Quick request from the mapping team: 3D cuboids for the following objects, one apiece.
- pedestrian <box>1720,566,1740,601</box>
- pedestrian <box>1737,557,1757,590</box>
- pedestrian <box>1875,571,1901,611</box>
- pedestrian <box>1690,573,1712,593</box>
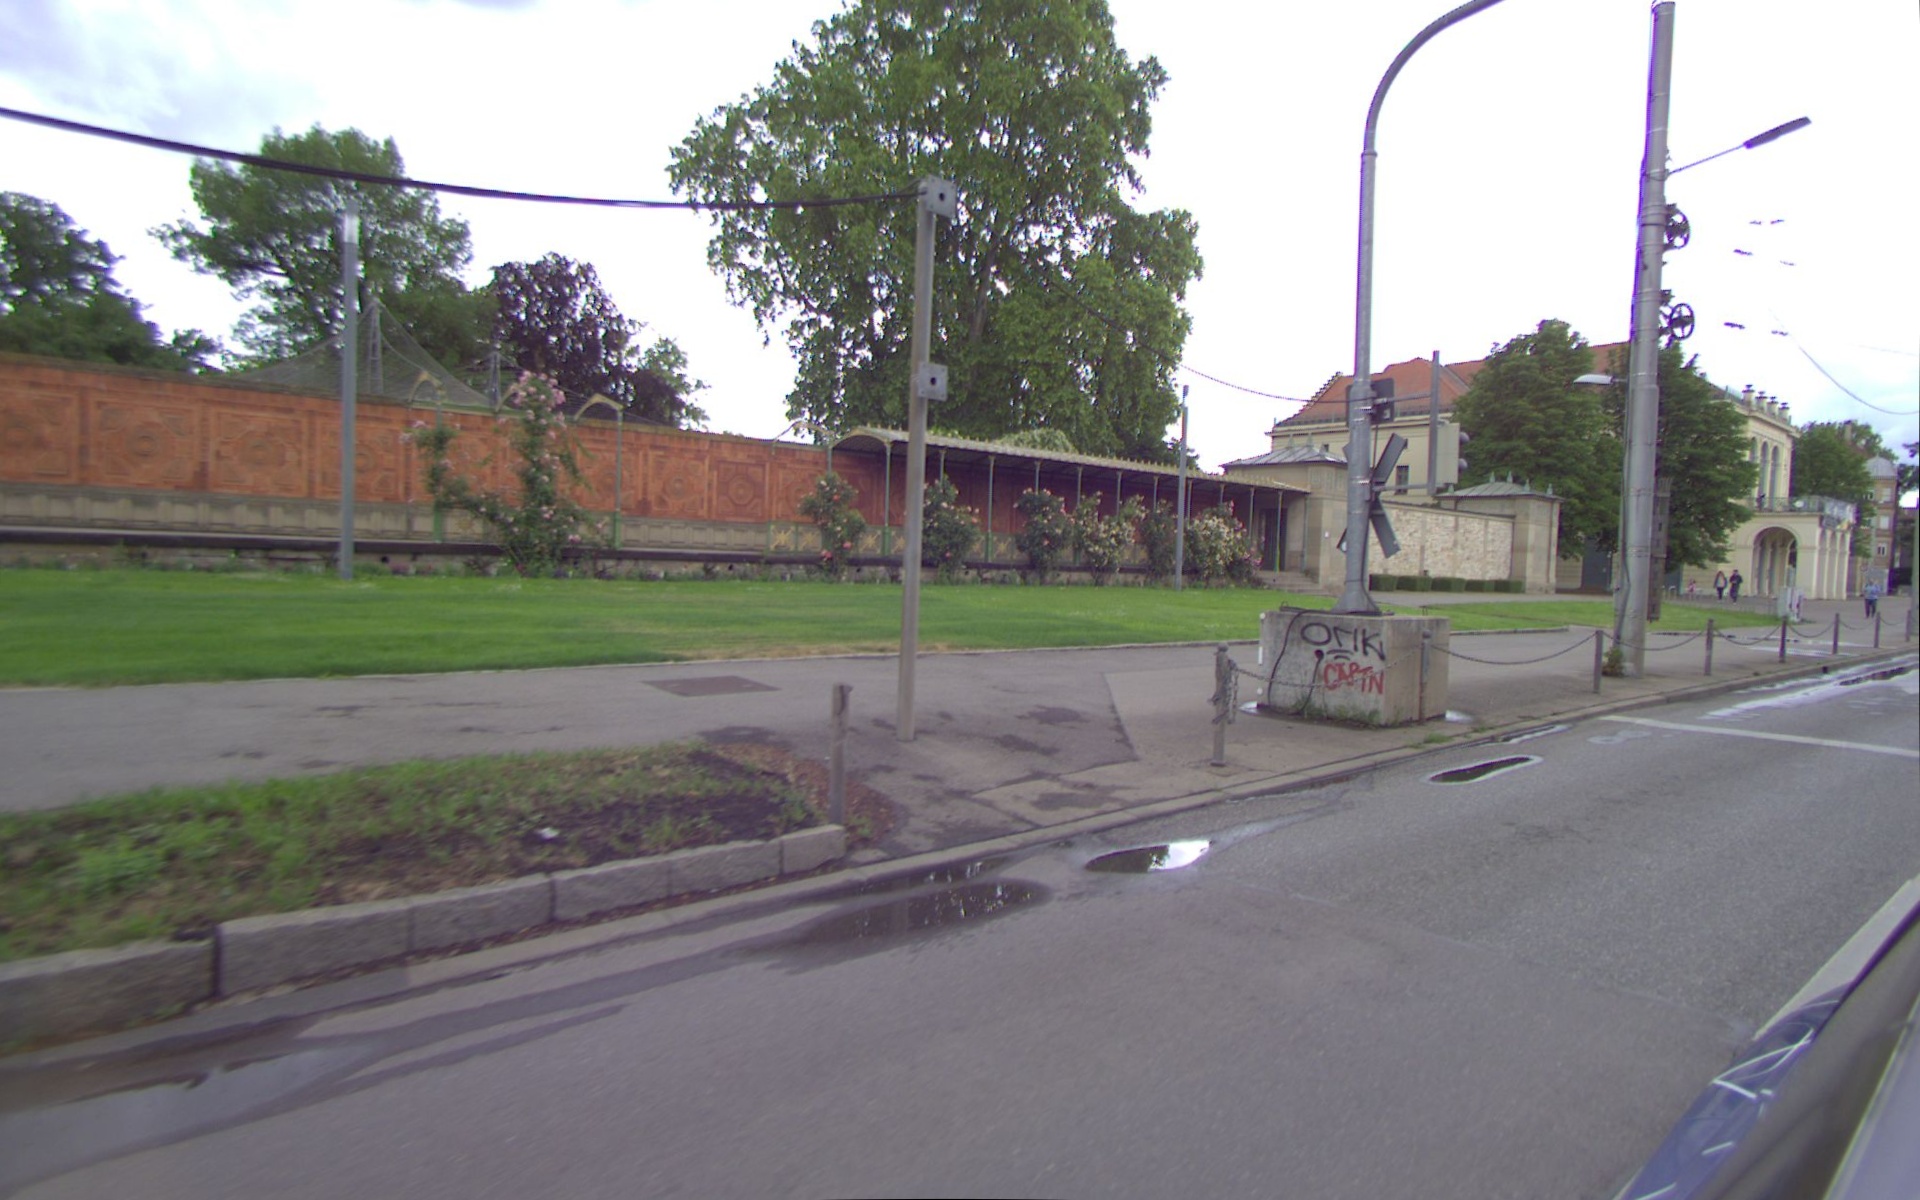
[{"bbox_3d":[40.650,-0.870,53.440,0.794,1.814,0.596,0,3,-39],"label":"pedestrian"},{"bbox_3d":[41.113,-1.376,52.885,0.776,1.719,0.598,0,3,-39],"label":"pedestrian"},{"bbox_3d":[42.543,-0.432,46.417,0.920,1.789,0.672,0,3,-39],"label":"pedestrian"},{"bbox_3d":[39.929,-0.913,54.521,0.748,1.012,0.594,3,3,16],"label":"pedestrian"}]
